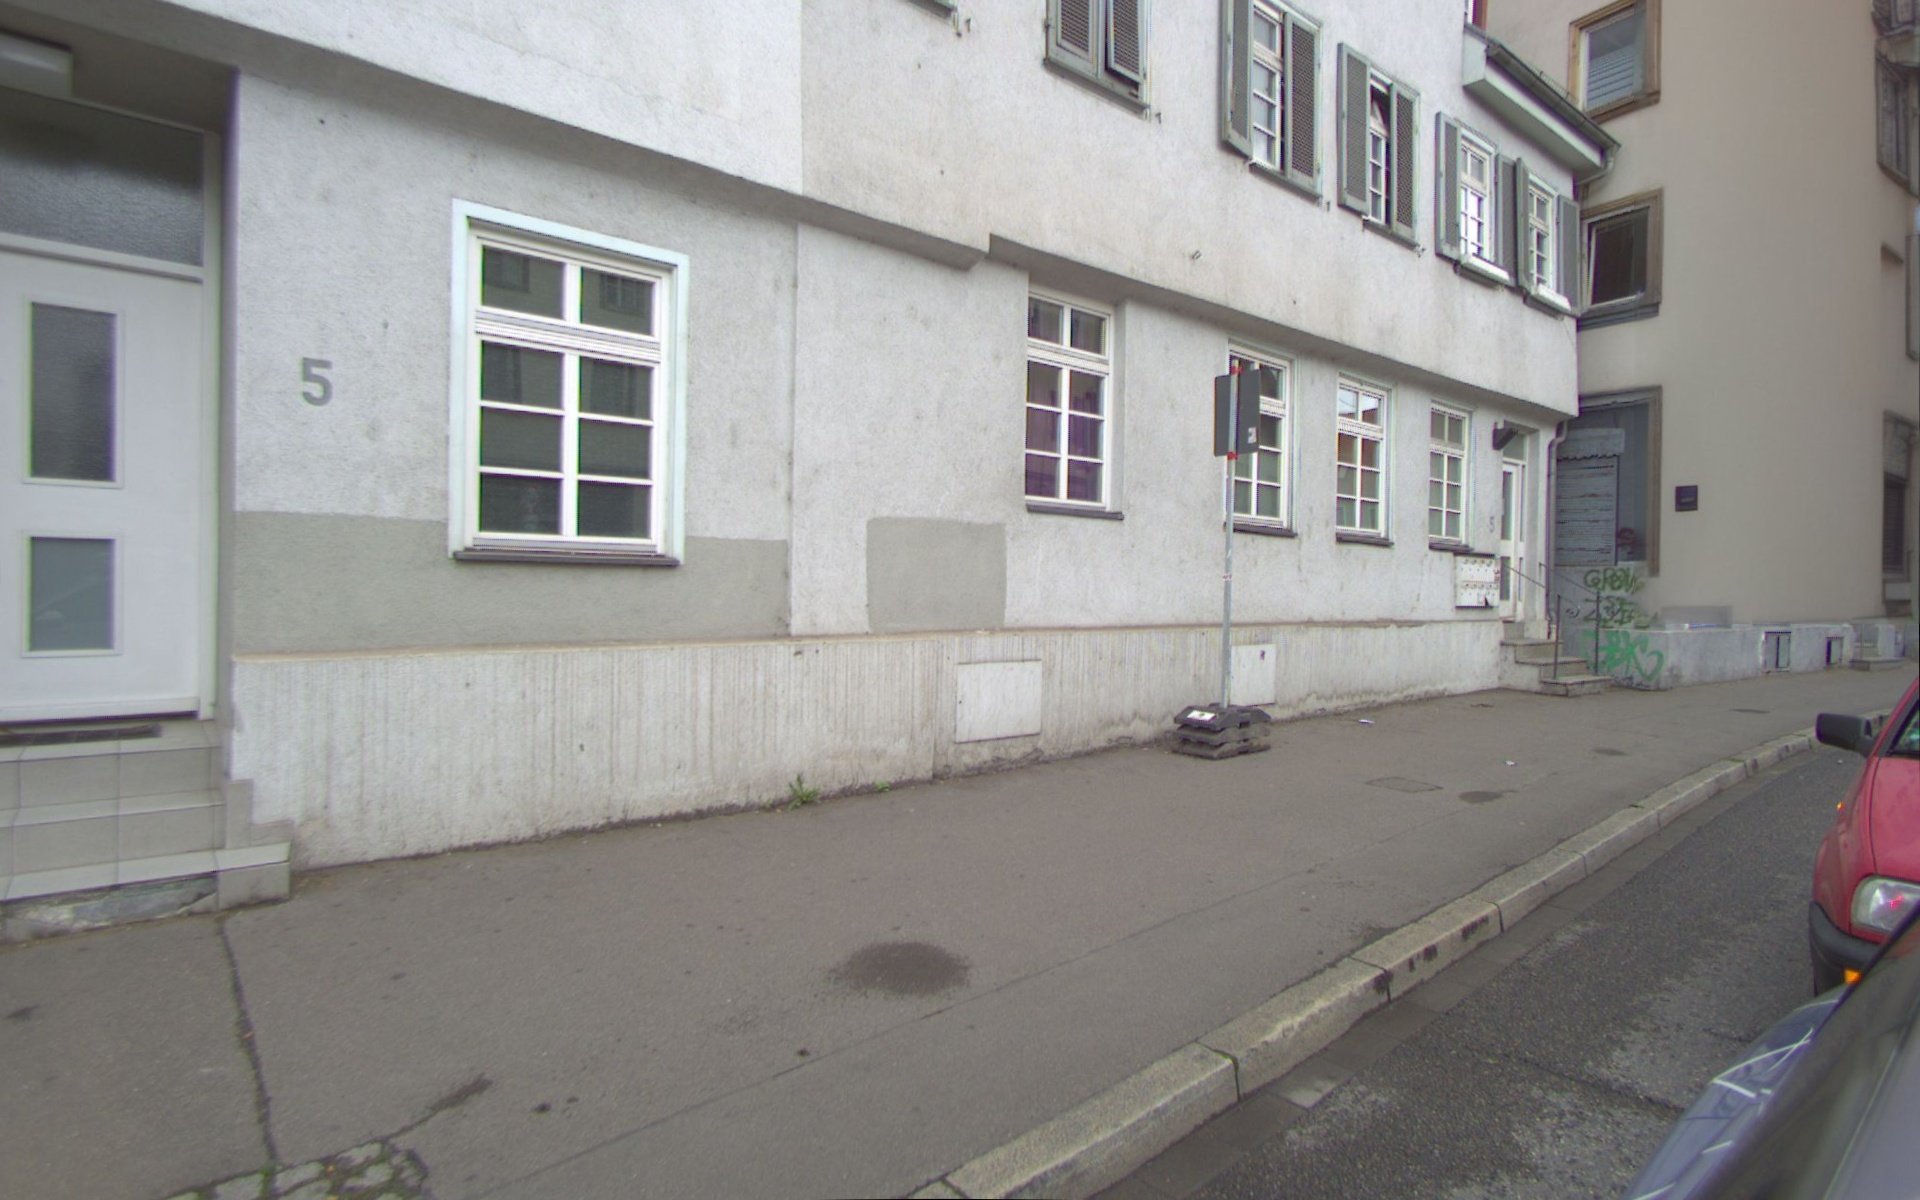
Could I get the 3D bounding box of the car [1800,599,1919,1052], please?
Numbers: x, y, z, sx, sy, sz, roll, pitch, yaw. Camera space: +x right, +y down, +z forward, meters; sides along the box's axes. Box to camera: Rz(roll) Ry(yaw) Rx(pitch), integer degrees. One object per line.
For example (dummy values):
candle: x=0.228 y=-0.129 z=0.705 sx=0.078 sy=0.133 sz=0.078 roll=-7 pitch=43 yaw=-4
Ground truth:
car: x=5.034 y=0.738 z=4.148 sx=3.930 sy=1.485 sz=1.802 roll=0 pitch=-2 yaw=-41
